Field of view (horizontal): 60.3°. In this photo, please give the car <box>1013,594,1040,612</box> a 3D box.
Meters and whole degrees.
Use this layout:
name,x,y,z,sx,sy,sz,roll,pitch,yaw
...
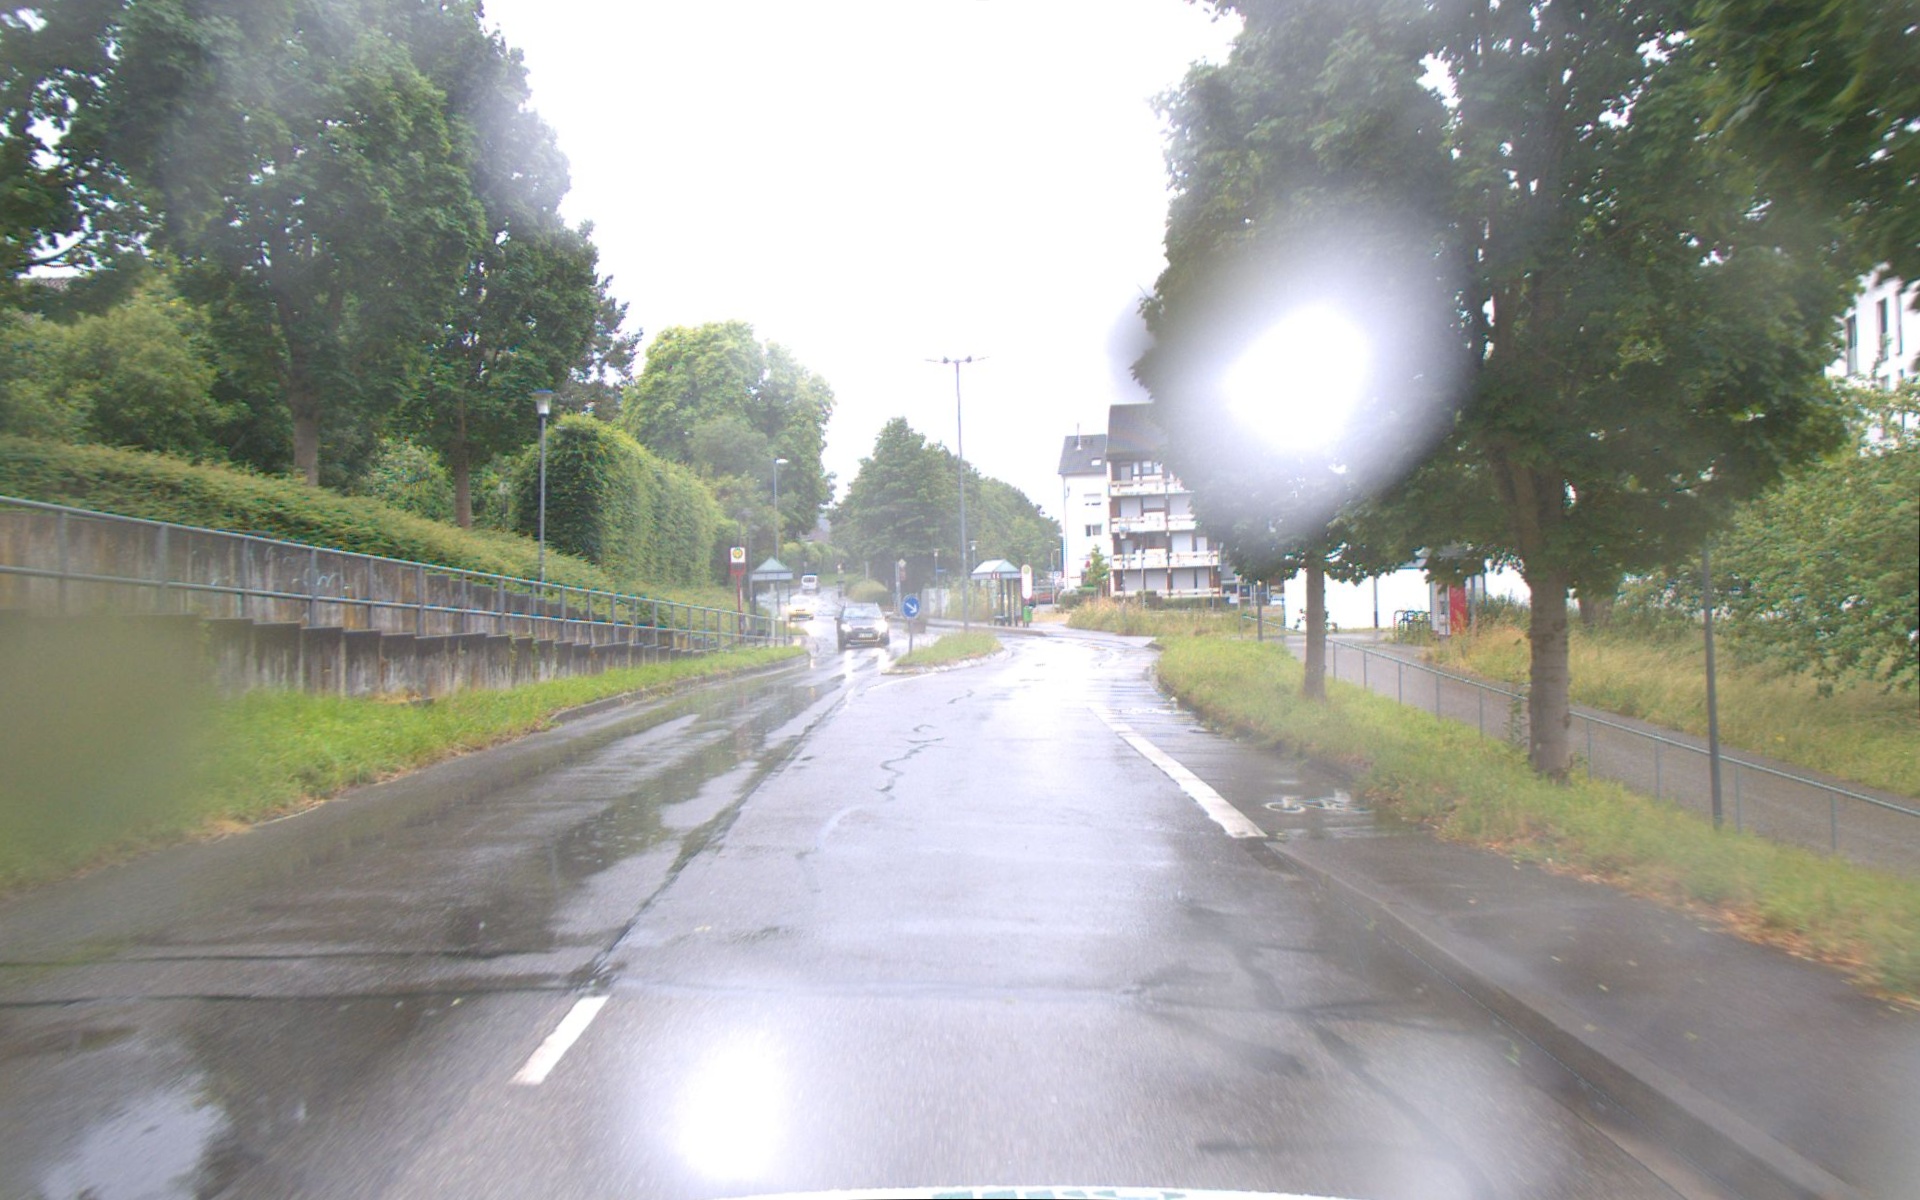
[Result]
name,x,y,z,sx,sy,sz,roll,pitch,yaw
car,5.765,0.241,143.517,1.657,1.463,3.606,-1,2,-8

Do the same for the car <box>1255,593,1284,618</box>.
name,x,y,z,sx,sy,sz,roll,pitch,yaw
car,19.894,0.350,106.411,1.679,1.466,3.709,-1,-2,9

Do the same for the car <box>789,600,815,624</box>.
name,x,y,z,sx,sy,sz,roll,pitch,yaw
car,-10.152,0.742,106.114,1.542,1.435,3.469,-3,0,-6

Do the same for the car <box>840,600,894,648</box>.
name,x,y,z,sx,sy,sz,roll,pitch,yaw
car,-3.217,0.808,57.927,1.725,1.529,4.139,-3,0,-2
